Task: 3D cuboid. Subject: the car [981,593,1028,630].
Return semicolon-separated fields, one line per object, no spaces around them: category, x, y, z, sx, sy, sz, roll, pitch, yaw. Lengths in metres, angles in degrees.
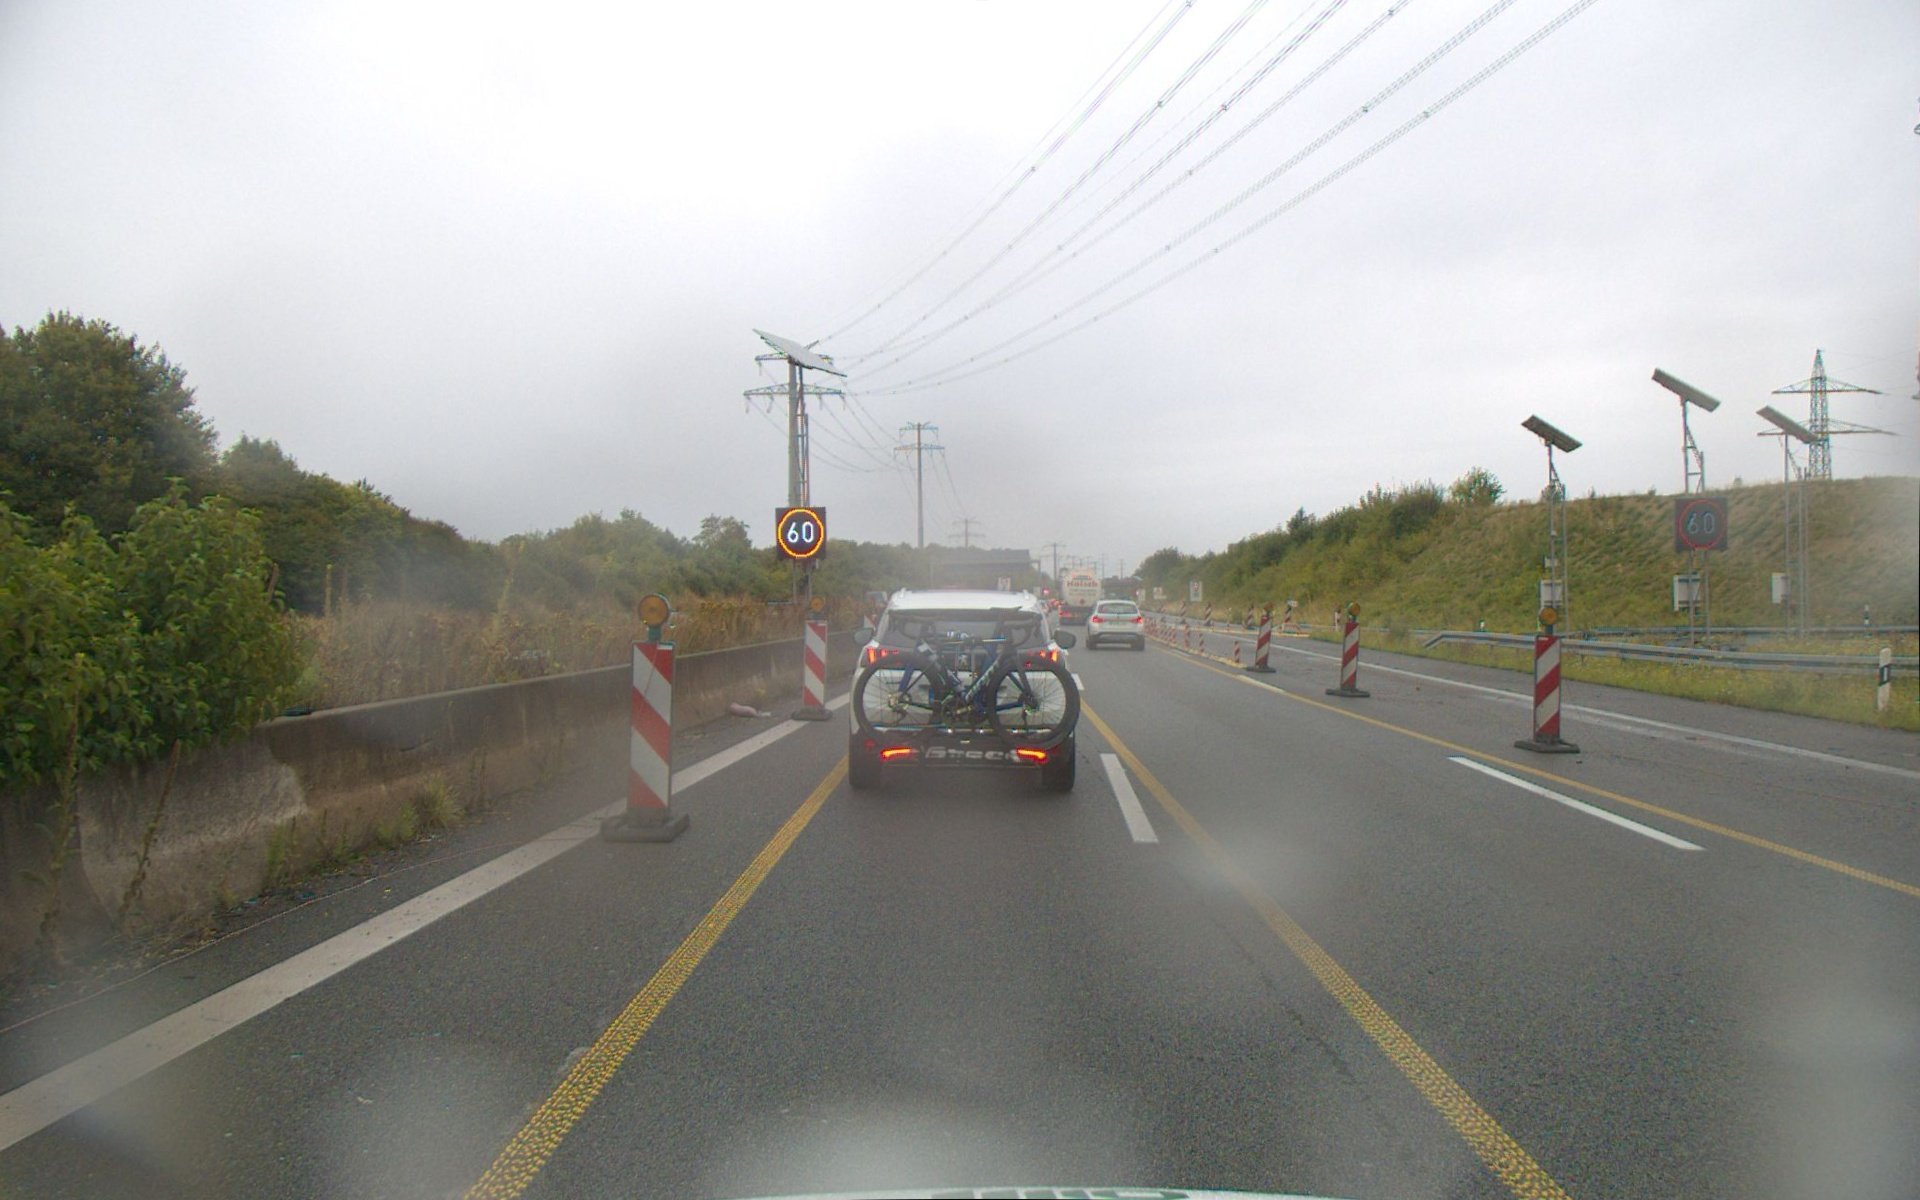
car;1.952;0.490;73.867;1.953;1.611;4.000;0;0;0

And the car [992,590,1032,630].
car;2.714;0.511;86.822;1.953;2.049;4.000;-1;0;0

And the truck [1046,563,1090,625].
truck;7.170;-0.368;110.326;2.590;3.959;4.029;1;-1;0

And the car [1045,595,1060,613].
car;10.811;0.504;193.060;1.619;2.049;4.002;0;0;4

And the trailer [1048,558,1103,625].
trailer;7.170;-0.447;103.912;2.584;3.961;10.542;1;-1;0

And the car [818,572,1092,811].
car;0.051;0.630;13.760;1.888;1.639;4.596;0;0;2

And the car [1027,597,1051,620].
car;7.013;0.774;147.674;1.953;2.049;4.000;1;-1;0

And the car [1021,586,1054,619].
car;5.081;0.189;108.418;1.953;2.049;3.999;1;-1;0

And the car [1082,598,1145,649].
car;4.842;0.710;52.622;1.831;1.561;4.198;0;0;3
